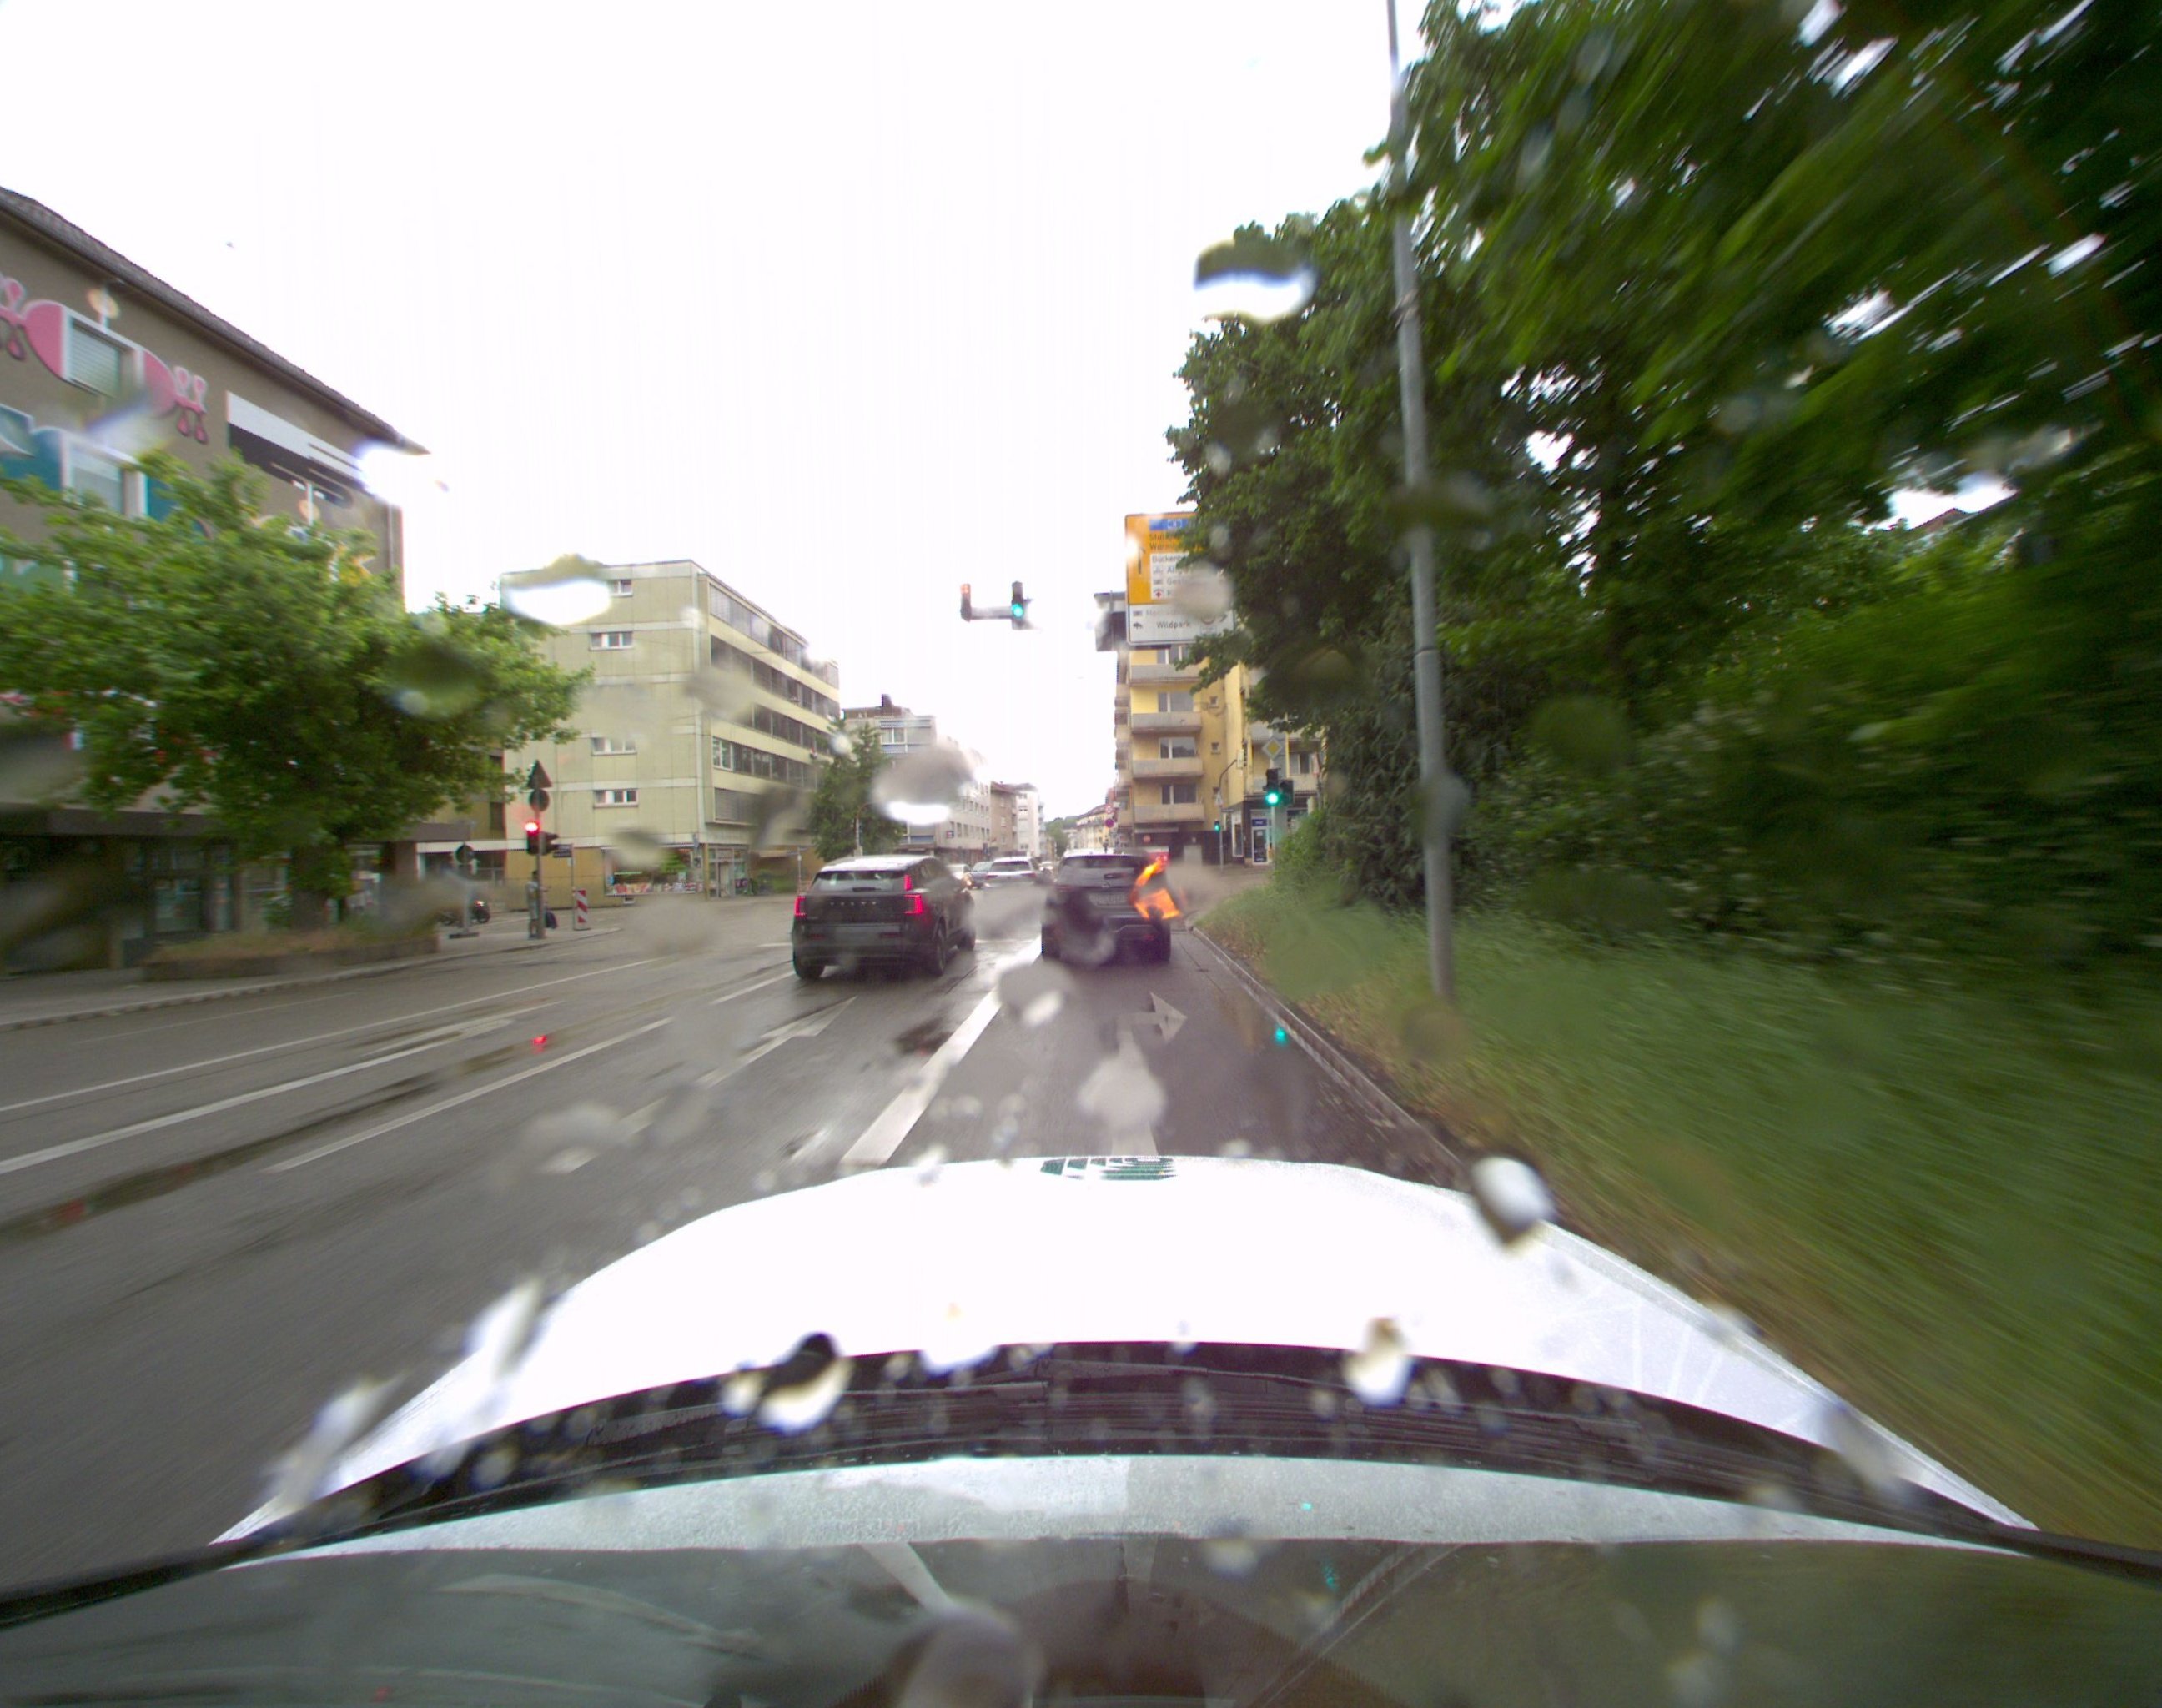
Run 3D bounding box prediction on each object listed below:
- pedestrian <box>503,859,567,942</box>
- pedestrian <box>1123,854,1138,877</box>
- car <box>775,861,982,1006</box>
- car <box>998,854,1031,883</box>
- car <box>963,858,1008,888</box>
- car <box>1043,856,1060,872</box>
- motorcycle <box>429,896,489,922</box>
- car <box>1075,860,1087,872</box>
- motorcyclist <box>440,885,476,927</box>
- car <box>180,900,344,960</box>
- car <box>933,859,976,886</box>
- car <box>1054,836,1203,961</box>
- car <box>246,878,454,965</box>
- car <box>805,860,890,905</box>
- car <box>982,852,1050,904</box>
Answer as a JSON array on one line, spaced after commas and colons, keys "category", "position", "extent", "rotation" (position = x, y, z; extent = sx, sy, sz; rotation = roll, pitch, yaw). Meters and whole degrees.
[{"category": "pedestrian", "position": [-13.876, 1.153, 20.723], "extent": [0.939, 2.013, 0.884], "rotation": [-4, 0, -8]}, {"category": "pedestrian", "position": [3.546, 0.824, 58.192], "extent": [0.832, 1.558, 0.833], "rotation": [-8, 0, 0]}, {"category": "car", "position": [-2.377, 0.854, 10.556], "extent": [1.607, 1.420, 3.967], "rotation": [-2, 0, 1]}, {"category": "car", "position": [-4.549, 0.983, 56.089], "extent": [1.774, 1.816, 4.405], "rotation": [-4, 0, 0]}, {"category": "car", "position": [-5.410, 1.044, 46.453], "extent": [1.779, 1.491, 3.818], "rotation": [-4, 0, 4]}, {"category": "car", "position": [-4.163, 1.422, 116.322], "extent": [1.903, 2.013, 4.002], "rotation": [-5, 0, 2]}, {"category": "motorcycle", "position": [-26.090, 2.293, 34.200], "extent": [1.855, 0.935, 0.615], "rotation": [-4, 0, -15]}, {"category": "car", "position": [0.015, 2.226, 148.566], "extent": [1.985, 2.013, 4.003], "rotation": [-4, 0, 3]}, {"category": "motorcyclist", "position": [-26.145, 2.178, 34.202], "extent": [0.920, 1.663, 0.704], "rotation": [-3, -2, -15]}, {"category": "car", "position": [-33.705, 3.084, 33.632], "extent": [4.426, 1.919, 2.031], "rotation": [-5, 0, -4]}, {"category": "car", "position": [-8.076, 1.149, 52.411], "extent": [1.771, 1.478, 3.798], "rotation": [-5, 0, 4]}, {"category": "car", "position": [0.648, 0.582, 12.765], "extent": [1.953, 1.653, 4.000], "rotation": [0, 0, 0]}, {"category": "car", "position": [-27.810, 2.526, 31.142], "extent": [5.740, 2.712, 2.185], "rotation": [-5, 0, 0]}, {"category": "car", "position": [-9.632, 1.135, 33.908], "extent": [1.985, 1.494, 4.092], "rotation": [-5, 0, 4]}, {"category": "car", "position": [-2.001, 0.692, 26.078], "extent": [1.761, 1.444, 4.000], "rotation": [-3, 0, 0]}]
